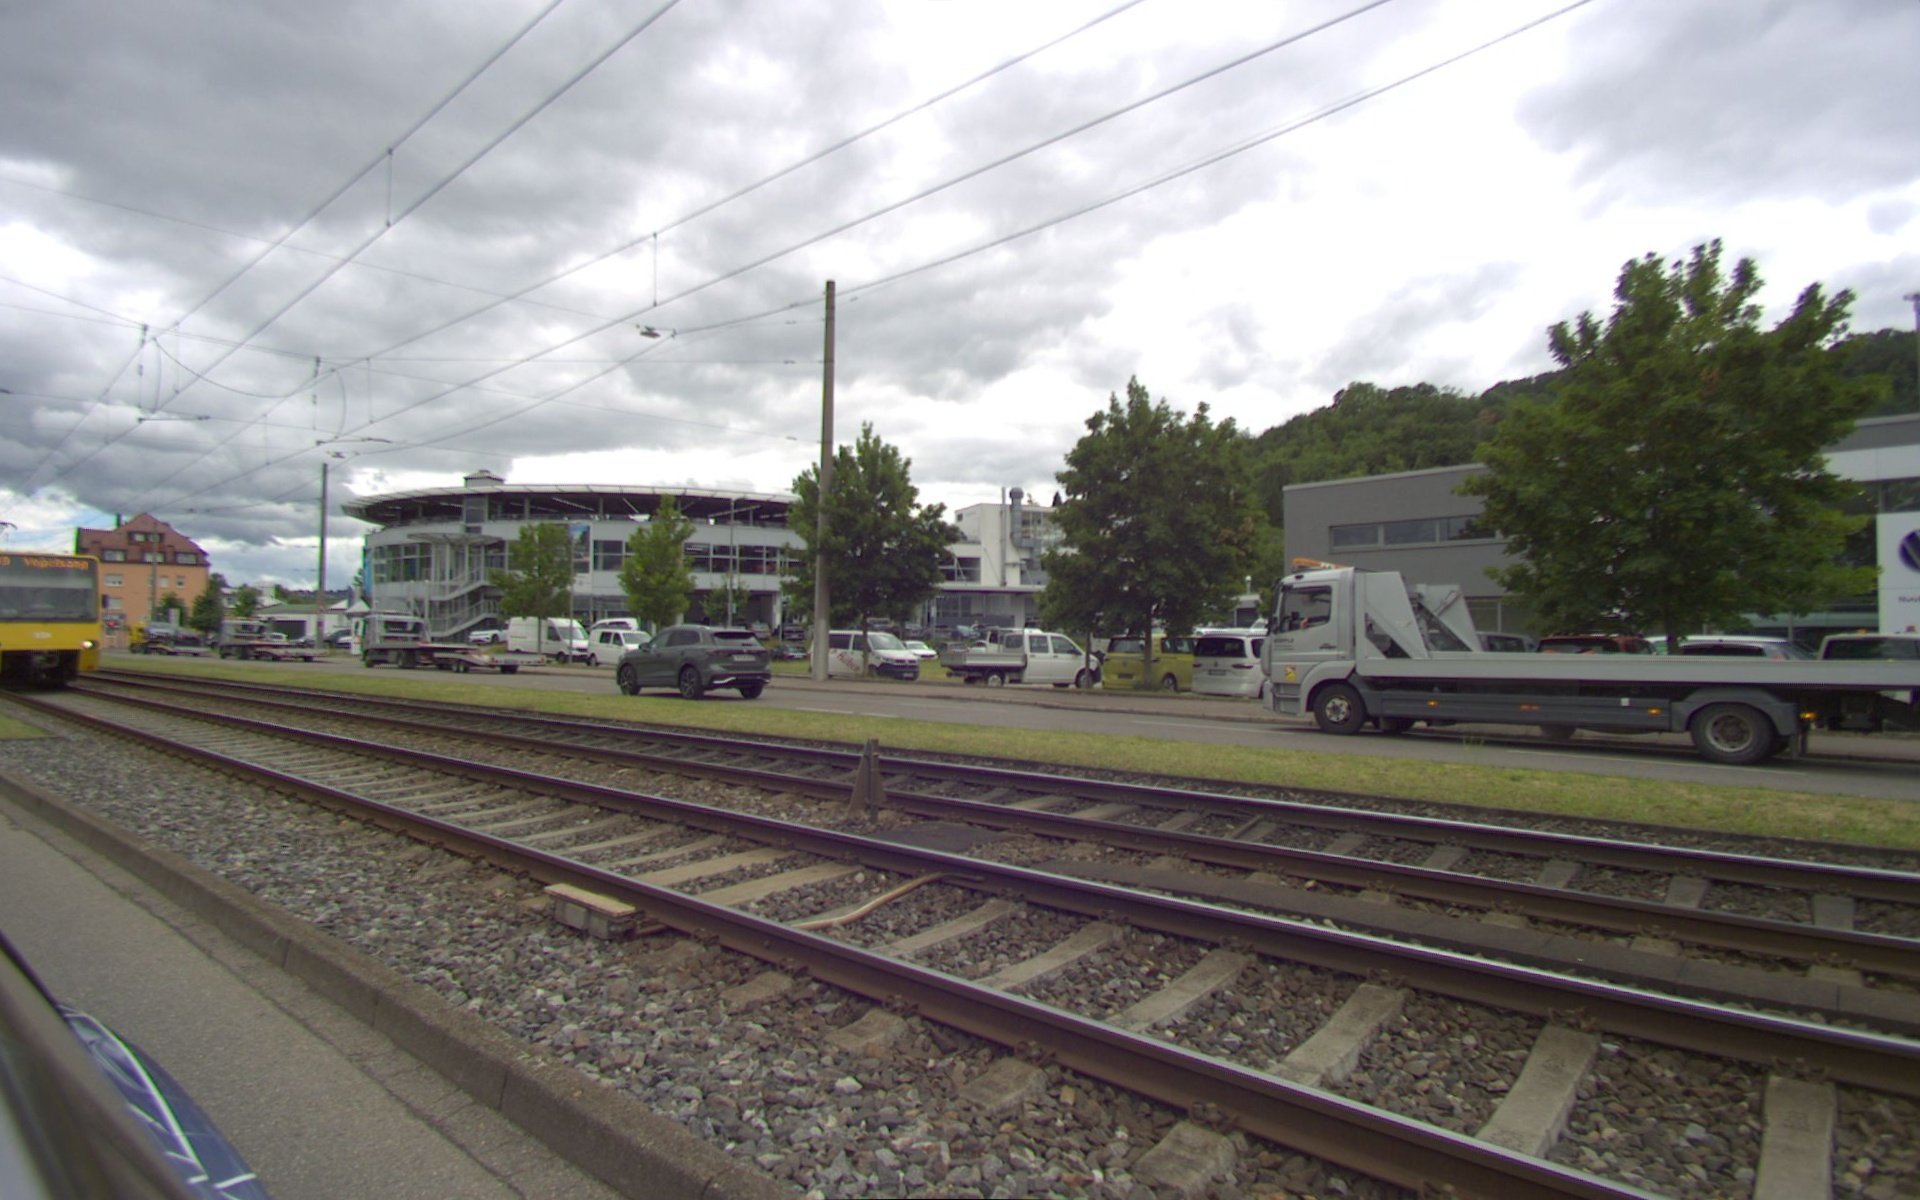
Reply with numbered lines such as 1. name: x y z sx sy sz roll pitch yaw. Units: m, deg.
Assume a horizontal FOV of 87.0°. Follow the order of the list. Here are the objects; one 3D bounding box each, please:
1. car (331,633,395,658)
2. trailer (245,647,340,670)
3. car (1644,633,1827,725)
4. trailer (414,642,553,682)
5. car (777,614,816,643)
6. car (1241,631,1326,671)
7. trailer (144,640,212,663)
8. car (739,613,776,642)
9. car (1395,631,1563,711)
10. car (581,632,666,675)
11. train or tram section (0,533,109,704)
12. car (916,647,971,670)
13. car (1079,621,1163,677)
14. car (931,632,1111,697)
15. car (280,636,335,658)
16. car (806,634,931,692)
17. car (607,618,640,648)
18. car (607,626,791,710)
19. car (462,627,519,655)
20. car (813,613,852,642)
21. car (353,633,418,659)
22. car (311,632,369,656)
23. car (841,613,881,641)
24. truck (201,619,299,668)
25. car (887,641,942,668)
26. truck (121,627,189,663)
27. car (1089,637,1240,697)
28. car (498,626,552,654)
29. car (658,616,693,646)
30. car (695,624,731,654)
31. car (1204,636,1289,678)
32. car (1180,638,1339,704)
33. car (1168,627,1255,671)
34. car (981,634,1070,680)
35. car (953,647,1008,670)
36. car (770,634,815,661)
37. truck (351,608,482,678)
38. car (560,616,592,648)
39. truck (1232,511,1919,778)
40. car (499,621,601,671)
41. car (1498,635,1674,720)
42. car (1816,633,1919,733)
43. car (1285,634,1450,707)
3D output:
1. car: -47.717 3.600 80.918 1.991 1.962 3.961 -2 -3 28
2. trailer: -40.175 3.507 60.811 7.003 1.287 3.016 -2 -5 42
3. car: 15.453 1.484 20.113 3.936 1.630 2.003 1 -3 -39
4. trailer: -19.952 2.570 42.134 7.225 1.507 2.727 -3 -6 43
5. car: -11.896 2.113 73.367 1.965 2.029 4.013 1 -2 -21
6. car: 17.968 2.810 56.520 1.966 2.144 4.875 1 -2 -18
7. trailer: -61.350 4.007 79.351 7.567 1.701 2.945 -3 -3 42
8. car: -15.019 2.053 74.906 1.965 2.029 4.013 1 -2 -21
9. car: 12.075 1.572 23.475 3.936 1.677 2.051 1 -3 -39
10. car: -16.800 2.656 50.424 4.807 2.029 1.972 -3 -3 43
11. train or tram section: -28.547 0.616 30.012 16.948 4.037 3.350 -2 -1 44
12. car: -1.112 3.778 65.841 1.650 1.447 3.723 1 -3 -38
13. car: 8.105 2.453 51.521 1.965 2.726 4.876 1 -2 -22
14. car: 2.057 2.100 33.765 5.615 2.023 2.151 1 -3 -23
15. car: -58.069 4.182 90.197 3.931 1.962 2.006 1 -3 -28
16. car: -3.477 2.290 37.670 4.862 2.029 1.971 -2 -3 44
17. car: -23.159 2.275 69.570 1.965 2.029 4.013 1 -2 -21
18. car: -6.116 1.520 23.433 4.534 1.753 1.972 -1 -4 43
19. car: -35.116 3.060 75.825 1.977 2.029 3.988 -1 -2 9
20. car: -9.423 2.058 74.715 1.965 2.029 4.013 1 -2 -21
21. car: -44.968 3.586 79.310 1.991 1.962 3.961 -2 -3 28
22. car: -51.980 3.714 84.879 3.935 1.962 2.004 1 -3 -37
23. car: -7.441 2.054 75.460 1.965 2.029 4.013 1 -2 -21
24. truck: -46.343 2.871 65.928 8.957 2.944 3.074 -2 -5 41
25. car: -2.942 3.461 64.545 1.650 1.630 3.723 1 -3 -38
26. truck: -67.598 3.749 84.880 9.064 2.881 3.017 -3 -3 42
27. car: 6.061 1.918 29.840 4.281 1.630 2.158 1 -3 -39
28. car: -32.805 3.036 76.451 1.977 2.029 3.988 -1 -2 9
29. car: -19.784 2.147 70.401 1.965 2.029 4.013 1 -2 -21
30. car: -17.489 2.729 71.552 1.965 2.029 4.013 1 -2 -21
31. car: 15.226 2.993 54.058 1.966 2.144 4.875 1 -2 -18
32. car: 8.223 1.869 27.652 4.290 1.630 2.123 1 -3 -39
33. car: 12.707 2.461 51.496 1.966 2.144 4.875 1 -2 -18
34. car: 2.989 2.593 47.432 1.965 2.029 5.150 1 -2 -24
35. car: 1.306 3.841 66.716 1.650 1.447 3.723 1 -3 -38
36. car: -10.284 2.899 61.994 1.648 1.630 3.727 1 -2 -27
37. truck: -25.669 2.070 47.555 8.455 3.004 2.832 -3 -5 44
38. car: -25.915 2.175 68.308 1.965 2.029 4.013 1 -2 -21
39. truck: 8.543 0.641 13.989 2.723 2.763 9.227 4 -5 -43
40. car: -21.995 2.475 54.244 5.842 2.580 1.979 -2 -3 31
41. car: 13.442 1.583 21.675 3.936 1.630 2.003 1 -3 -39
42. car: 16.960 1.402 17.957 3.936 1.630 2.003 1 -3 -39
43. car: 10.133 1.681 25.074 4.125 1.630 2.066 1 -3 -39
